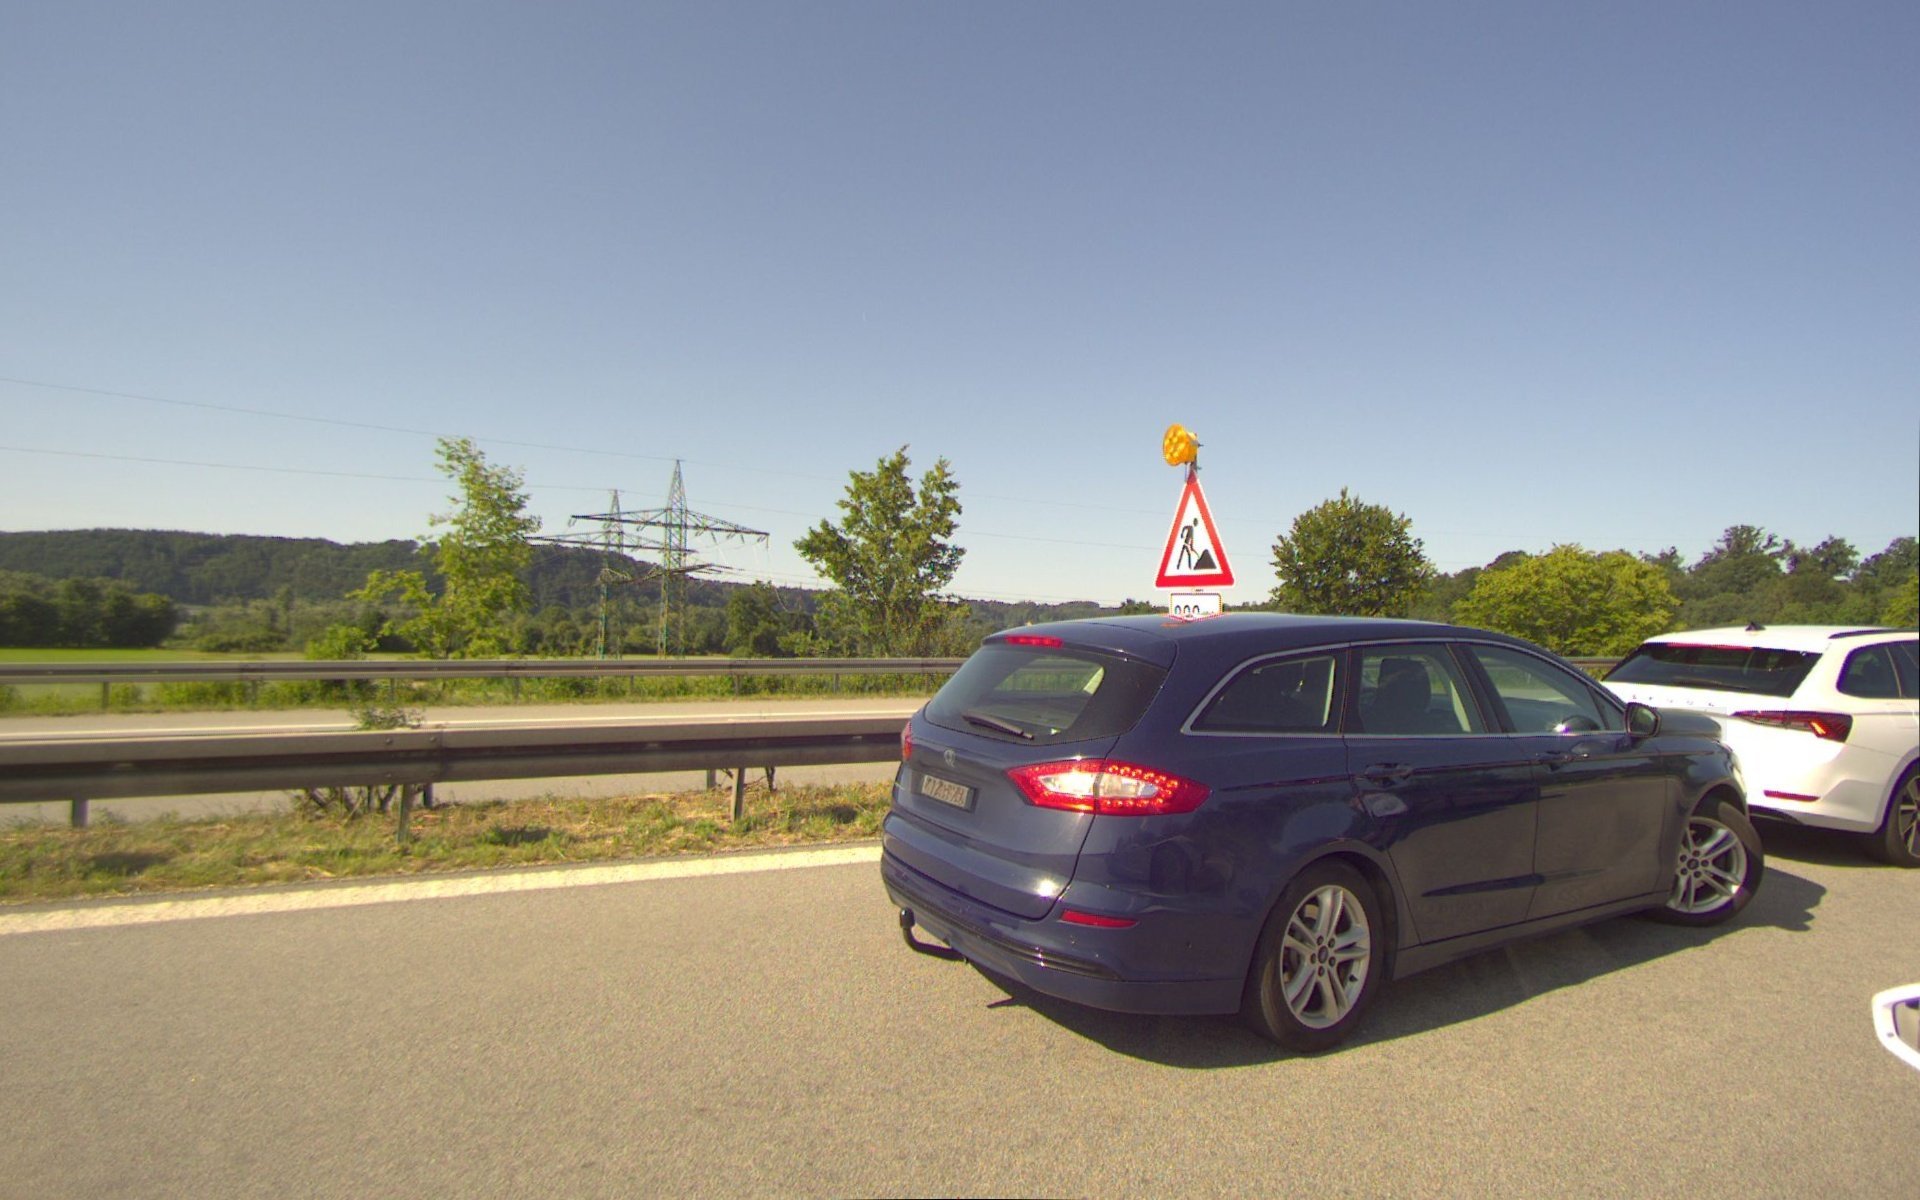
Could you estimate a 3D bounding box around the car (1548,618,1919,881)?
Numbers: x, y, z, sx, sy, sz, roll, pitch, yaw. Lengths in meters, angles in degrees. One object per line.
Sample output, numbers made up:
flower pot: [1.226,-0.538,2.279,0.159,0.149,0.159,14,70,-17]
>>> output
car: [6.503,0.903,7.280,4.149,1.461,1.691,1,0,-22]

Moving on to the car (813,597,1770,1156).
car: [1.727,0.810,4.658,4.442,1.513,1.779,1,-2,-31]
